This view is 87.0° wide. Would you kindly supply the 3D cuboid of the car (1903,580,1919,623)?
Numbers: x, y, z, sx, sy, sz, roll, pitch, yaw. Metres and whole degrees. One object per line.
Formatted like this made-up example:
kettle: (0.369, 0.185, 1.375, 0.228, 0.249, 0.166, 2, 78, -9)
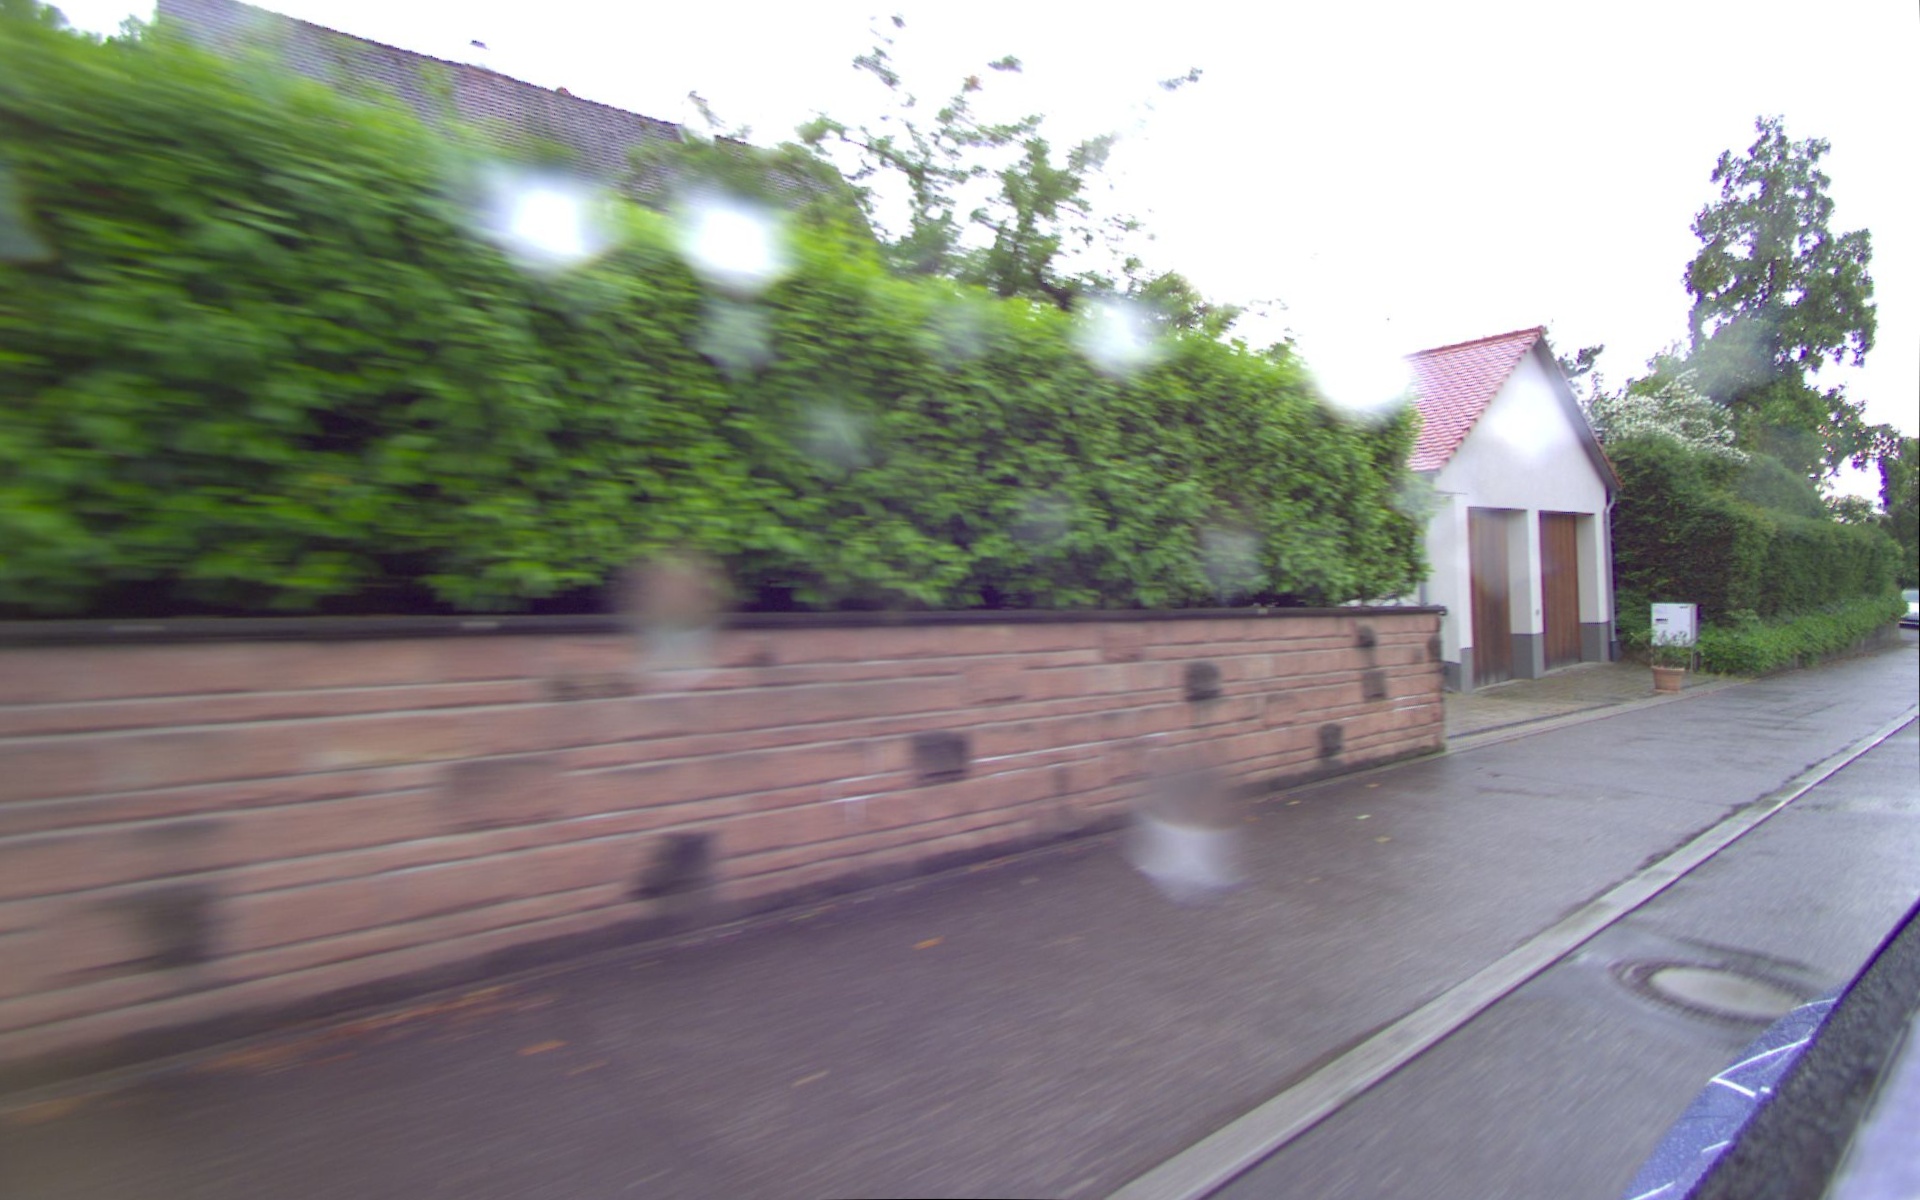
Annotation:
car: (36.663, 0.088, 37.842, 3.777, 1.554, 1.535, 0, 2, -40)
